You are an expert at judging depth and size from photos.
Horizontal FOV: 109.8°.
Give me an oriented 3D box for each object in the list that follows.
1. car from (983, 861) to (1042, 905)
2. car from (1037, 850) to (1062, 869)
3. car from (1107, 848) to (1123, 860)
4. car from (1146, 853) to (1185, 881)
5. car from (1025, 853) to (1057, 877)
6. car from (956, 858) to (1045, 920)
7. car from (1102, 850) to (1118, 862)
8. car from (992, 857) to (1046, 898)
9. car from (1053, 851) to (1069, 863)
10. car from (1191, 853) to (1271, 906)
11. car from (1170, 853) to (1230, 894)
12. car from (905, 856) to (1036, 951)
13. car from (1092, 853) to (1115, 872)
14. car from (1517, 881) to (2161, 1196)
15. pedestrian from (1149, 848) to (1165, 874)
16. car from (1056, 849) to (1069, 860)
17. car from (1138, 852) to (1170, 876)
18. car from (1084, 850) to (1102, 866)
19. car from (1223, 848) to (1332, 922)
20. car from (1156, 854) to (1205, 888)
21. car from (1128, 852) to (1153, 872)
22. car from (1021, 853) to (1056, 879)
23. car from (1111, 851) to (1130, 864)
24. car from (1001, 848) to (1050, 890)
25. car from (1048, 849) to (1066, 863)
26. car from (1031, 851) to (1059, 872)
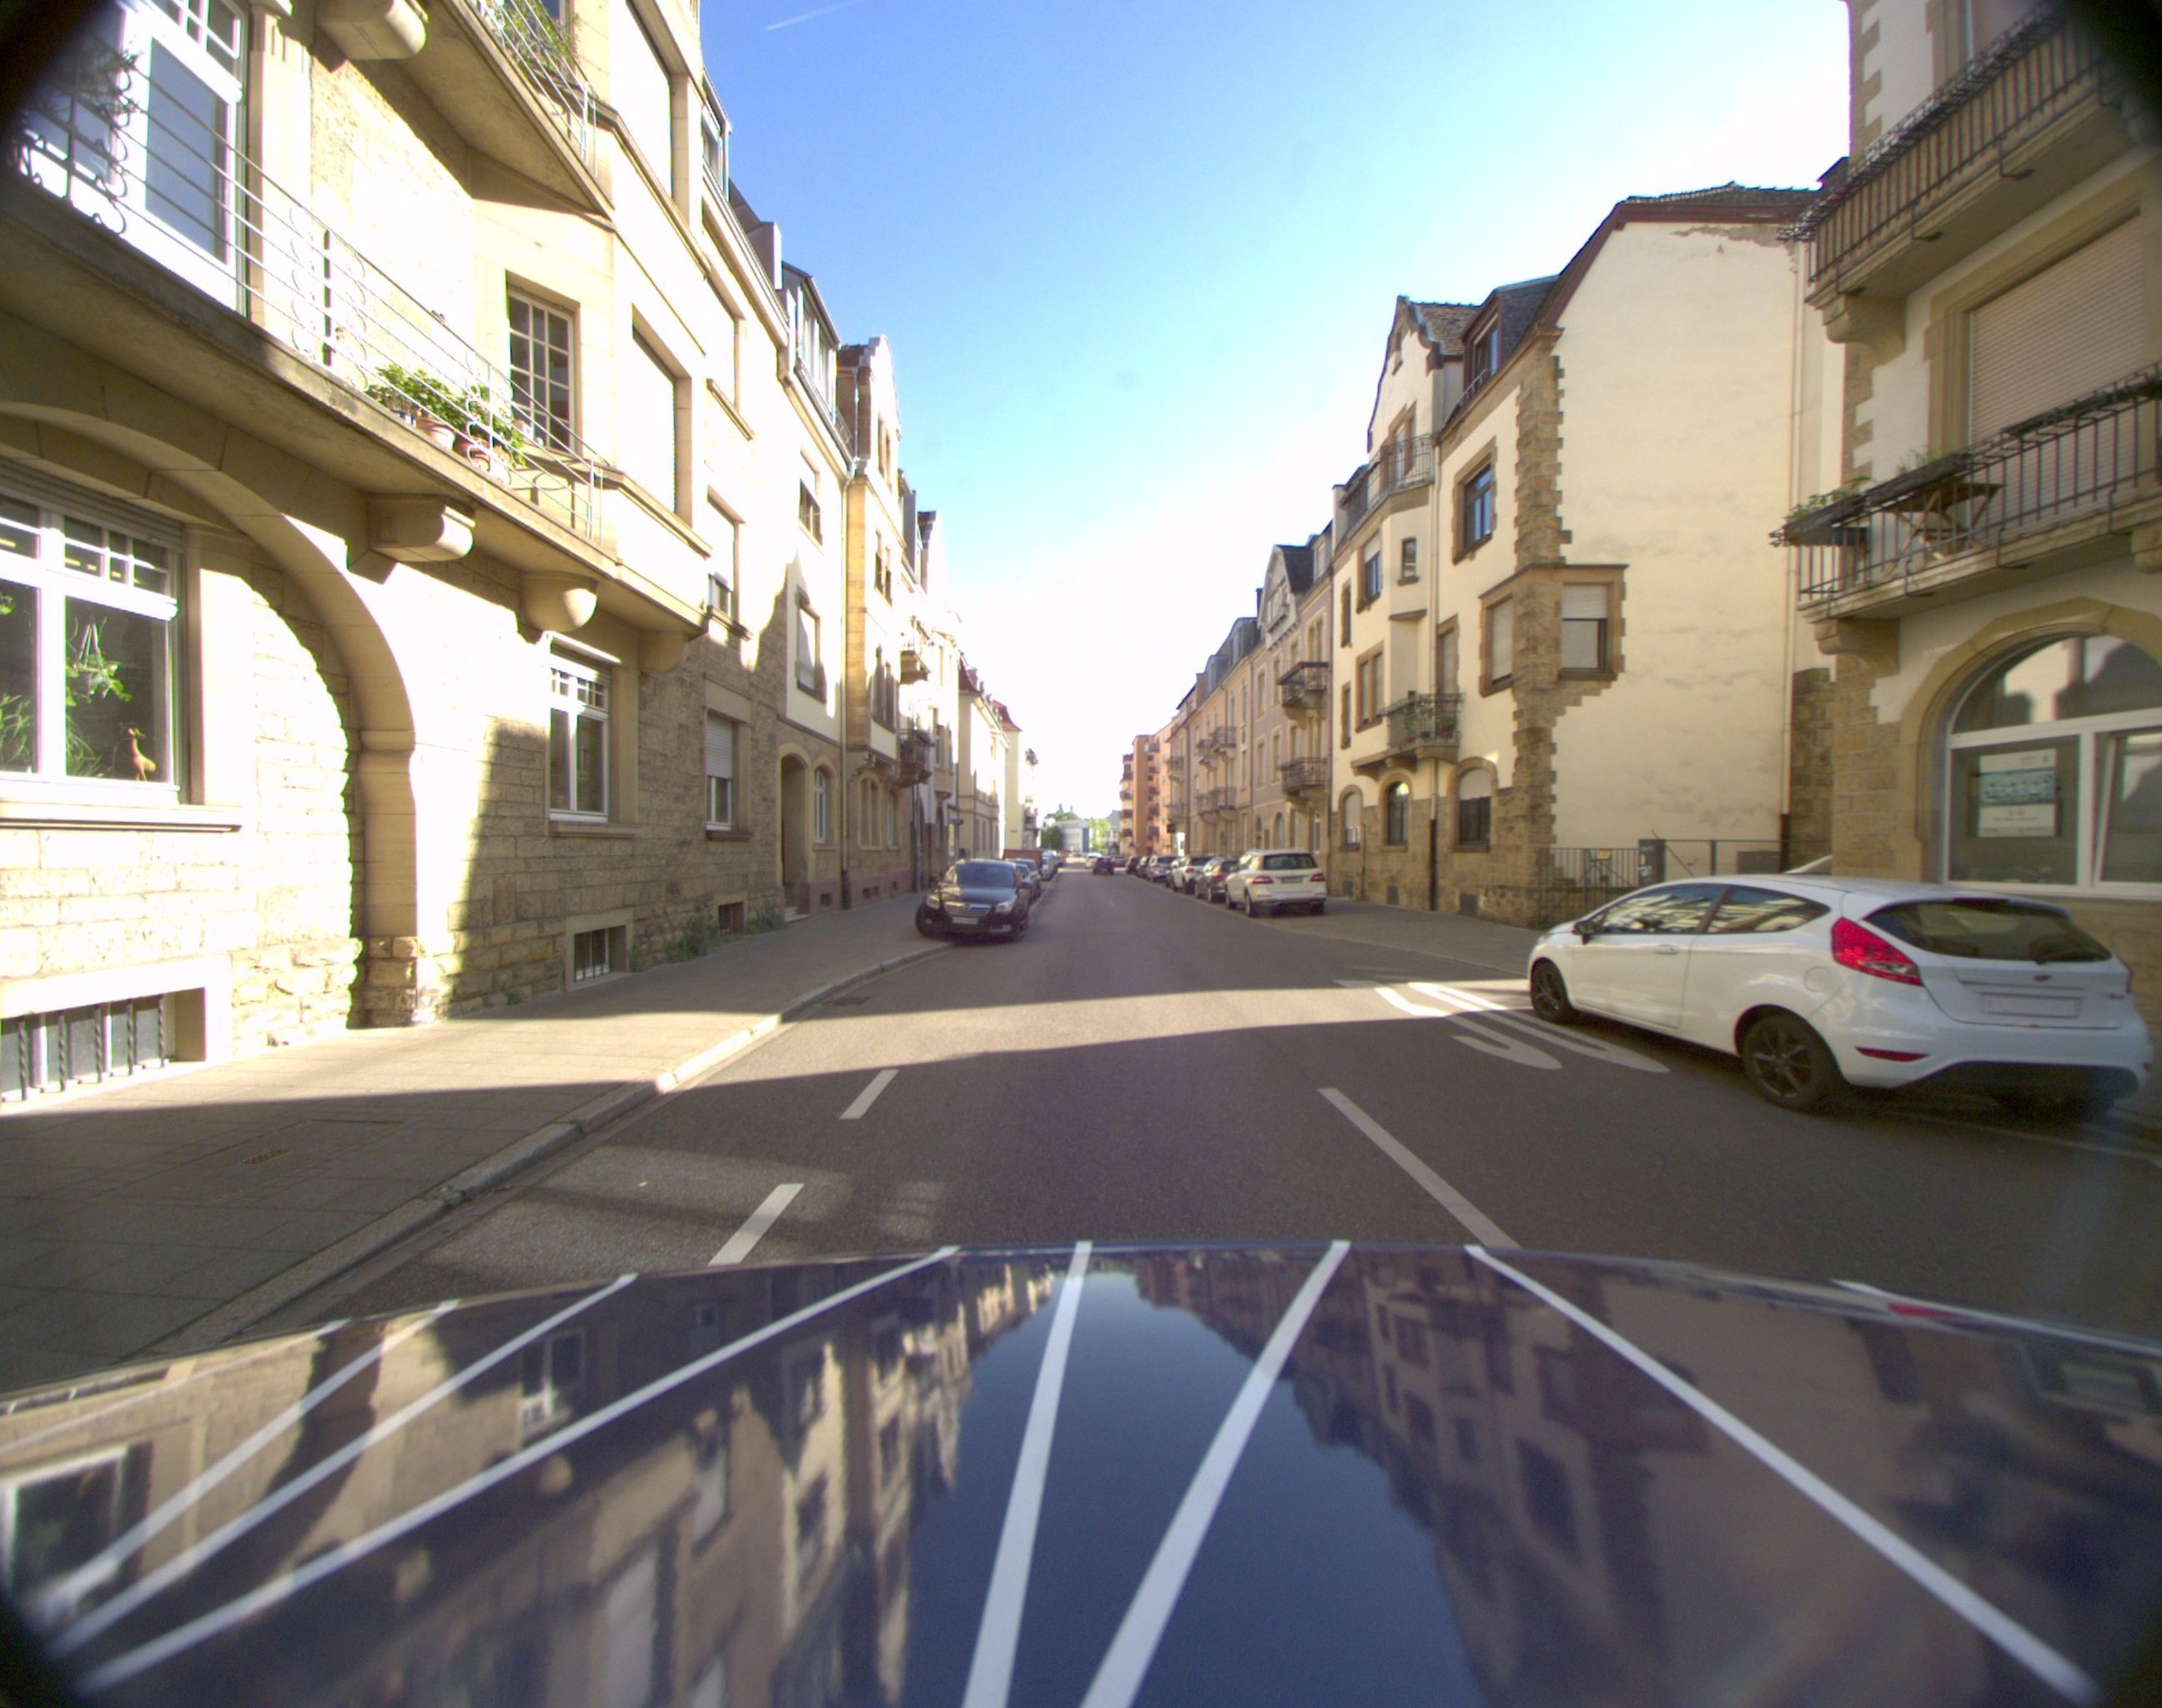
[{"bbox_3d":[-2.224,0.918,25.372,1.661,1.272,3.729,1,1,-1],"label":"car"},{"bbox_3d":[-2.658,0.440,64.492,2.005,1.500,4.320,1,1,-1],"label":"car"},{"bbox_3d":[4.536,-0.013,101.950,2.005,1.500,4.320,1,1,-1],"label":"car"},{"bbox_3d":[5.033,0.722,45.825,1.890,1.500,4.320,-2,1,1],"label":"car"},{"bbox_3d":[-2.735,0.727,52.634,2.005,1.500,4.320,1,1,-1],"label":"car"},{"bbox_3d":[-2.088,0.866,20.793,2.005,1.499,4.321,1,0,-1],"label":"car"},{"bbox_3d":[4.131,0.271,107.244,2.005,1.500,4.320,1,1,-1],"label":"car"},{"bbox_3d":[-2.374,0.882,30.114,1.824,1.415,4.320,1,1,-1],"label":"car"},{"bbox_3d":[-2.565,0.416,99.946,2.005,1.500,4.320,1,1,-1],"label":"car"},{"bbox_3d":[5.133,0.811,26.538,1.890,1.500,4.320,-4,1,1],"label":"car"},{"bbox_3d":[4.995,0.784,32.359,1.890,1.500,4.320,-2,1,1],"label":"car"},{"bbox_3d":[-2.045,0.873,15.257,2.024,1.500,4.111,2,1,-1],"label":"car"},{"bbox_3d":[1.764,0.661,60.479,1.656,1.449,3.642,0,1,-1],"label":"car"},{"bbox_3d":[5.119,1.007,5.692,1.656,1.449,3.643,2,0,2],"label":"car"},{"bbox_3d":[6.013,0.526,59.991,1.066,2.002,0.952,-2,1,-3],"label":"pedestrian"},{"bbox_3d":[-2.921,0.052,123.329,2.005,1.722,4.320,1,1,-1],"label":"car"},{"bbox_3d":[5.004,0.656,52.343,1.809,1.500,4.003,-2,1,1],"label":"car"},{"bbox_3d":[1.200,0.359,74.258,1.702,1.474,3.534,1,0,1],"label":"car"},{"bbox_3d":[5.205,0.742,20.711,1.890,1.717,4.211,-2,1,1],"label":"car"},{"bbox_3d":[4.867,0.806,37.799,1.857,1.491,4.318,-2,1,1],"label":"car"},{"bbox_3d":[4.907,0.628,62.966,1.793,1.500,4.320,-2,1,1],"label":"car"},{"bbox_3d":[-2.640,0.707,47.861,2.005,1.500,4.320,1,1,-1],"label":"car"},{"bbox_3d":[4.690,0.393,91.384,2.005,1.500,4.320,1,1,-1],"label":"car"},{"bbox_3d":[-2.548,0.641,35.803,2.005,1.828,4.320,1,1,-1],"label":"car"},{"bbox_3d":[-2.828,0.253,88.972,2.005,1.500,4.320,1,1,-1],"label":"car"},{"bbox_3d":[-2.731,0.525,58.659,2.005,1.500,4.320,1,1,-1],"label":"car"}]
